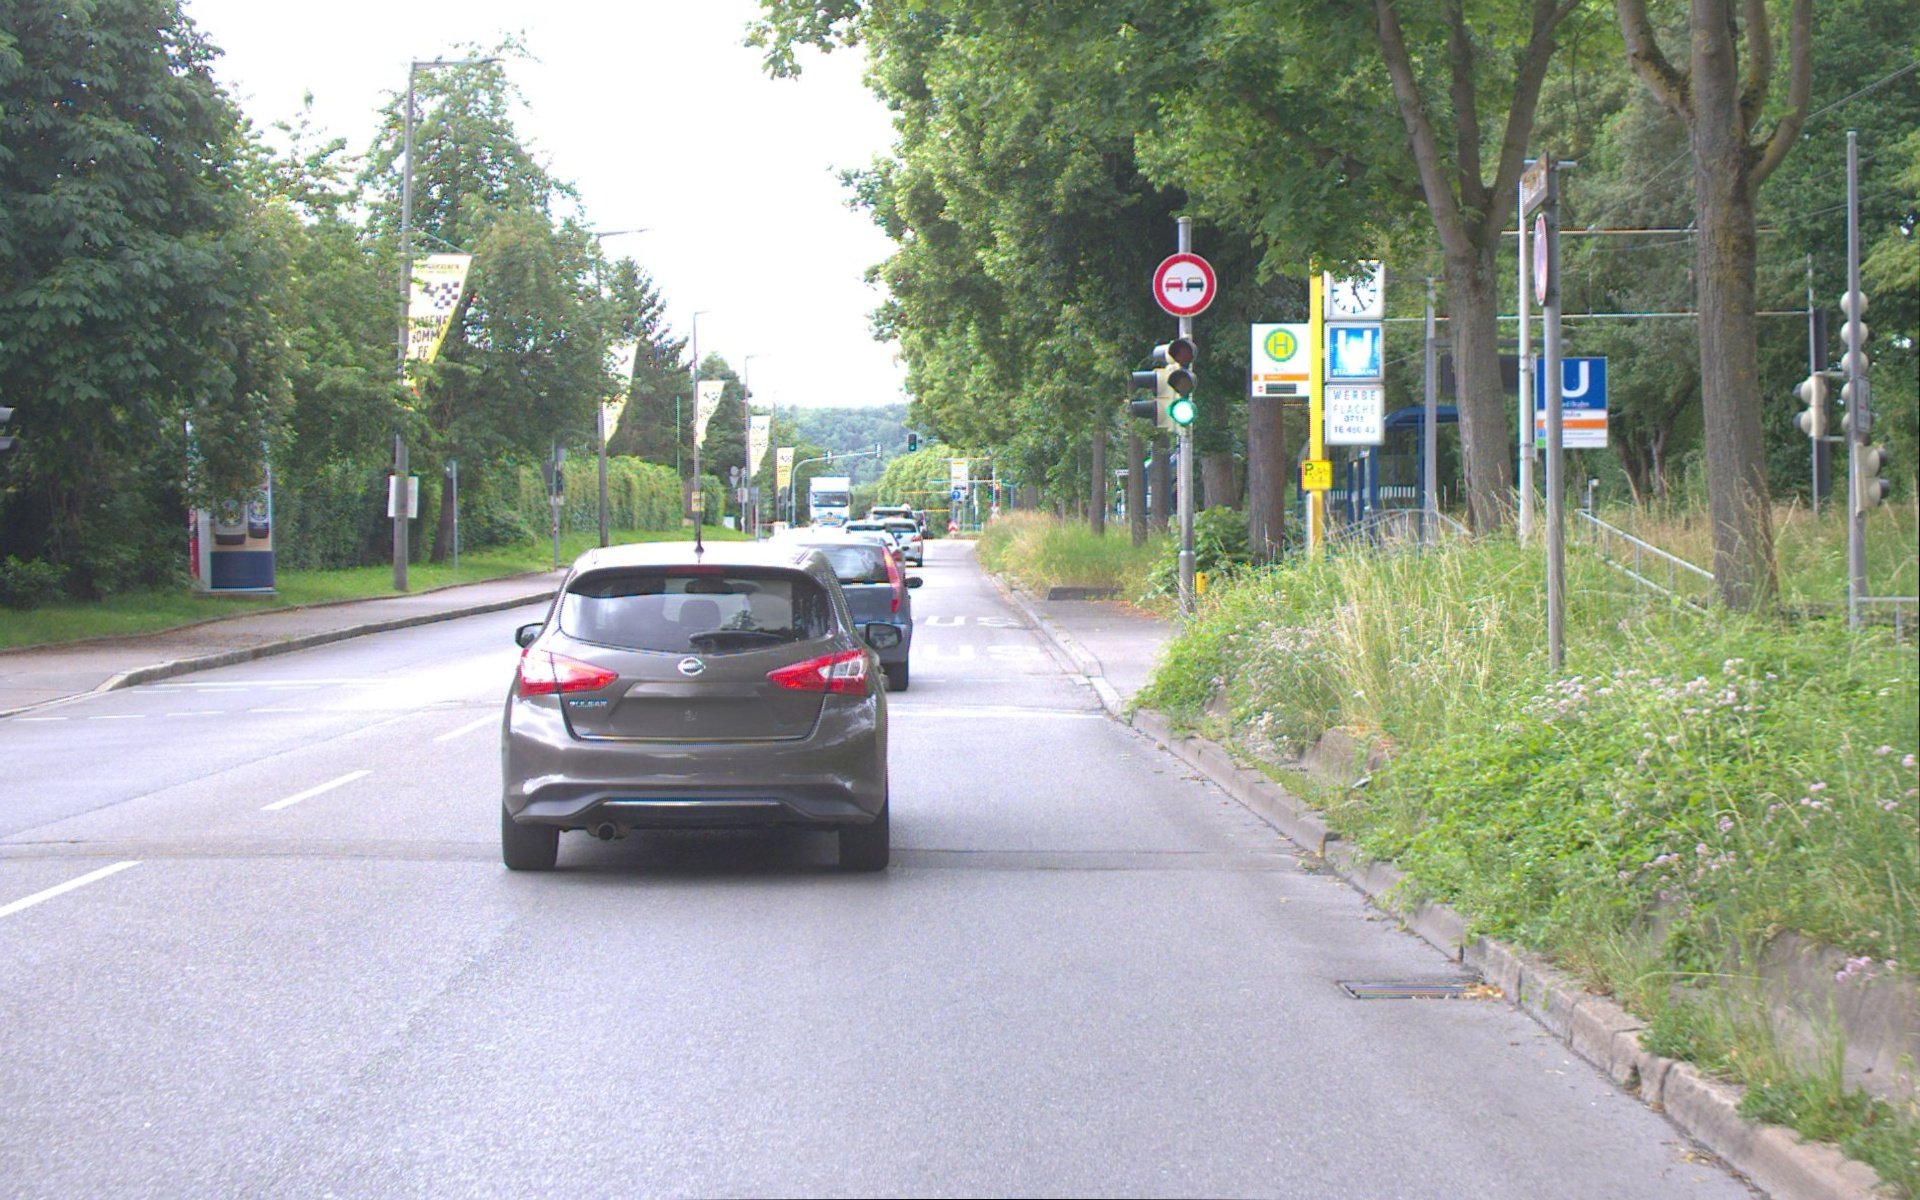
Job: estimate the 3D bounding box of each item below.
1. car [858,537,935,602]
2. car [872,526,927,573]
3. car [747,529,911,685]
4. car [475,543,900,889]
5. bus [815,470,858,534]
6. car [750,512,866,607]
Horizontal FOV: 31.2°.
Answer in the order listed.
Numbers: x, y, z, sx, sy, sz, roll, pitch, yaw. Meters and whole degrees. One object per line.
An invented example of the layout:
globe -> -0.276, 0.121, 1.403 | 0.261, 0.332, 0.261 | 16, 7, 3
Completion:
car -> -1.421, -0.706, 77.649 | 1.691, 1.436, 3.542 | 0, 1, -1
car -> -1.877, -1.590, 107.157 | 1.691, 1.436, 3.542 | 0, 1, -1
car -> -1.232, 0.034, 33.513 | 1.502, 1.436, 3.542 | 0, 1, -1
car -> -1.215, 0.483, 16.795 | 1.783, 1.501, 3.696 | 0, 1, 0
bus -> -7.955, -6.288, 222.155 | 2.487, 4.012, 10.218 | 0, 1, 0
car -> -2.345, -0.642, 53.767 | 1.691, 1.436, 3.542 | 0, 1, -1
